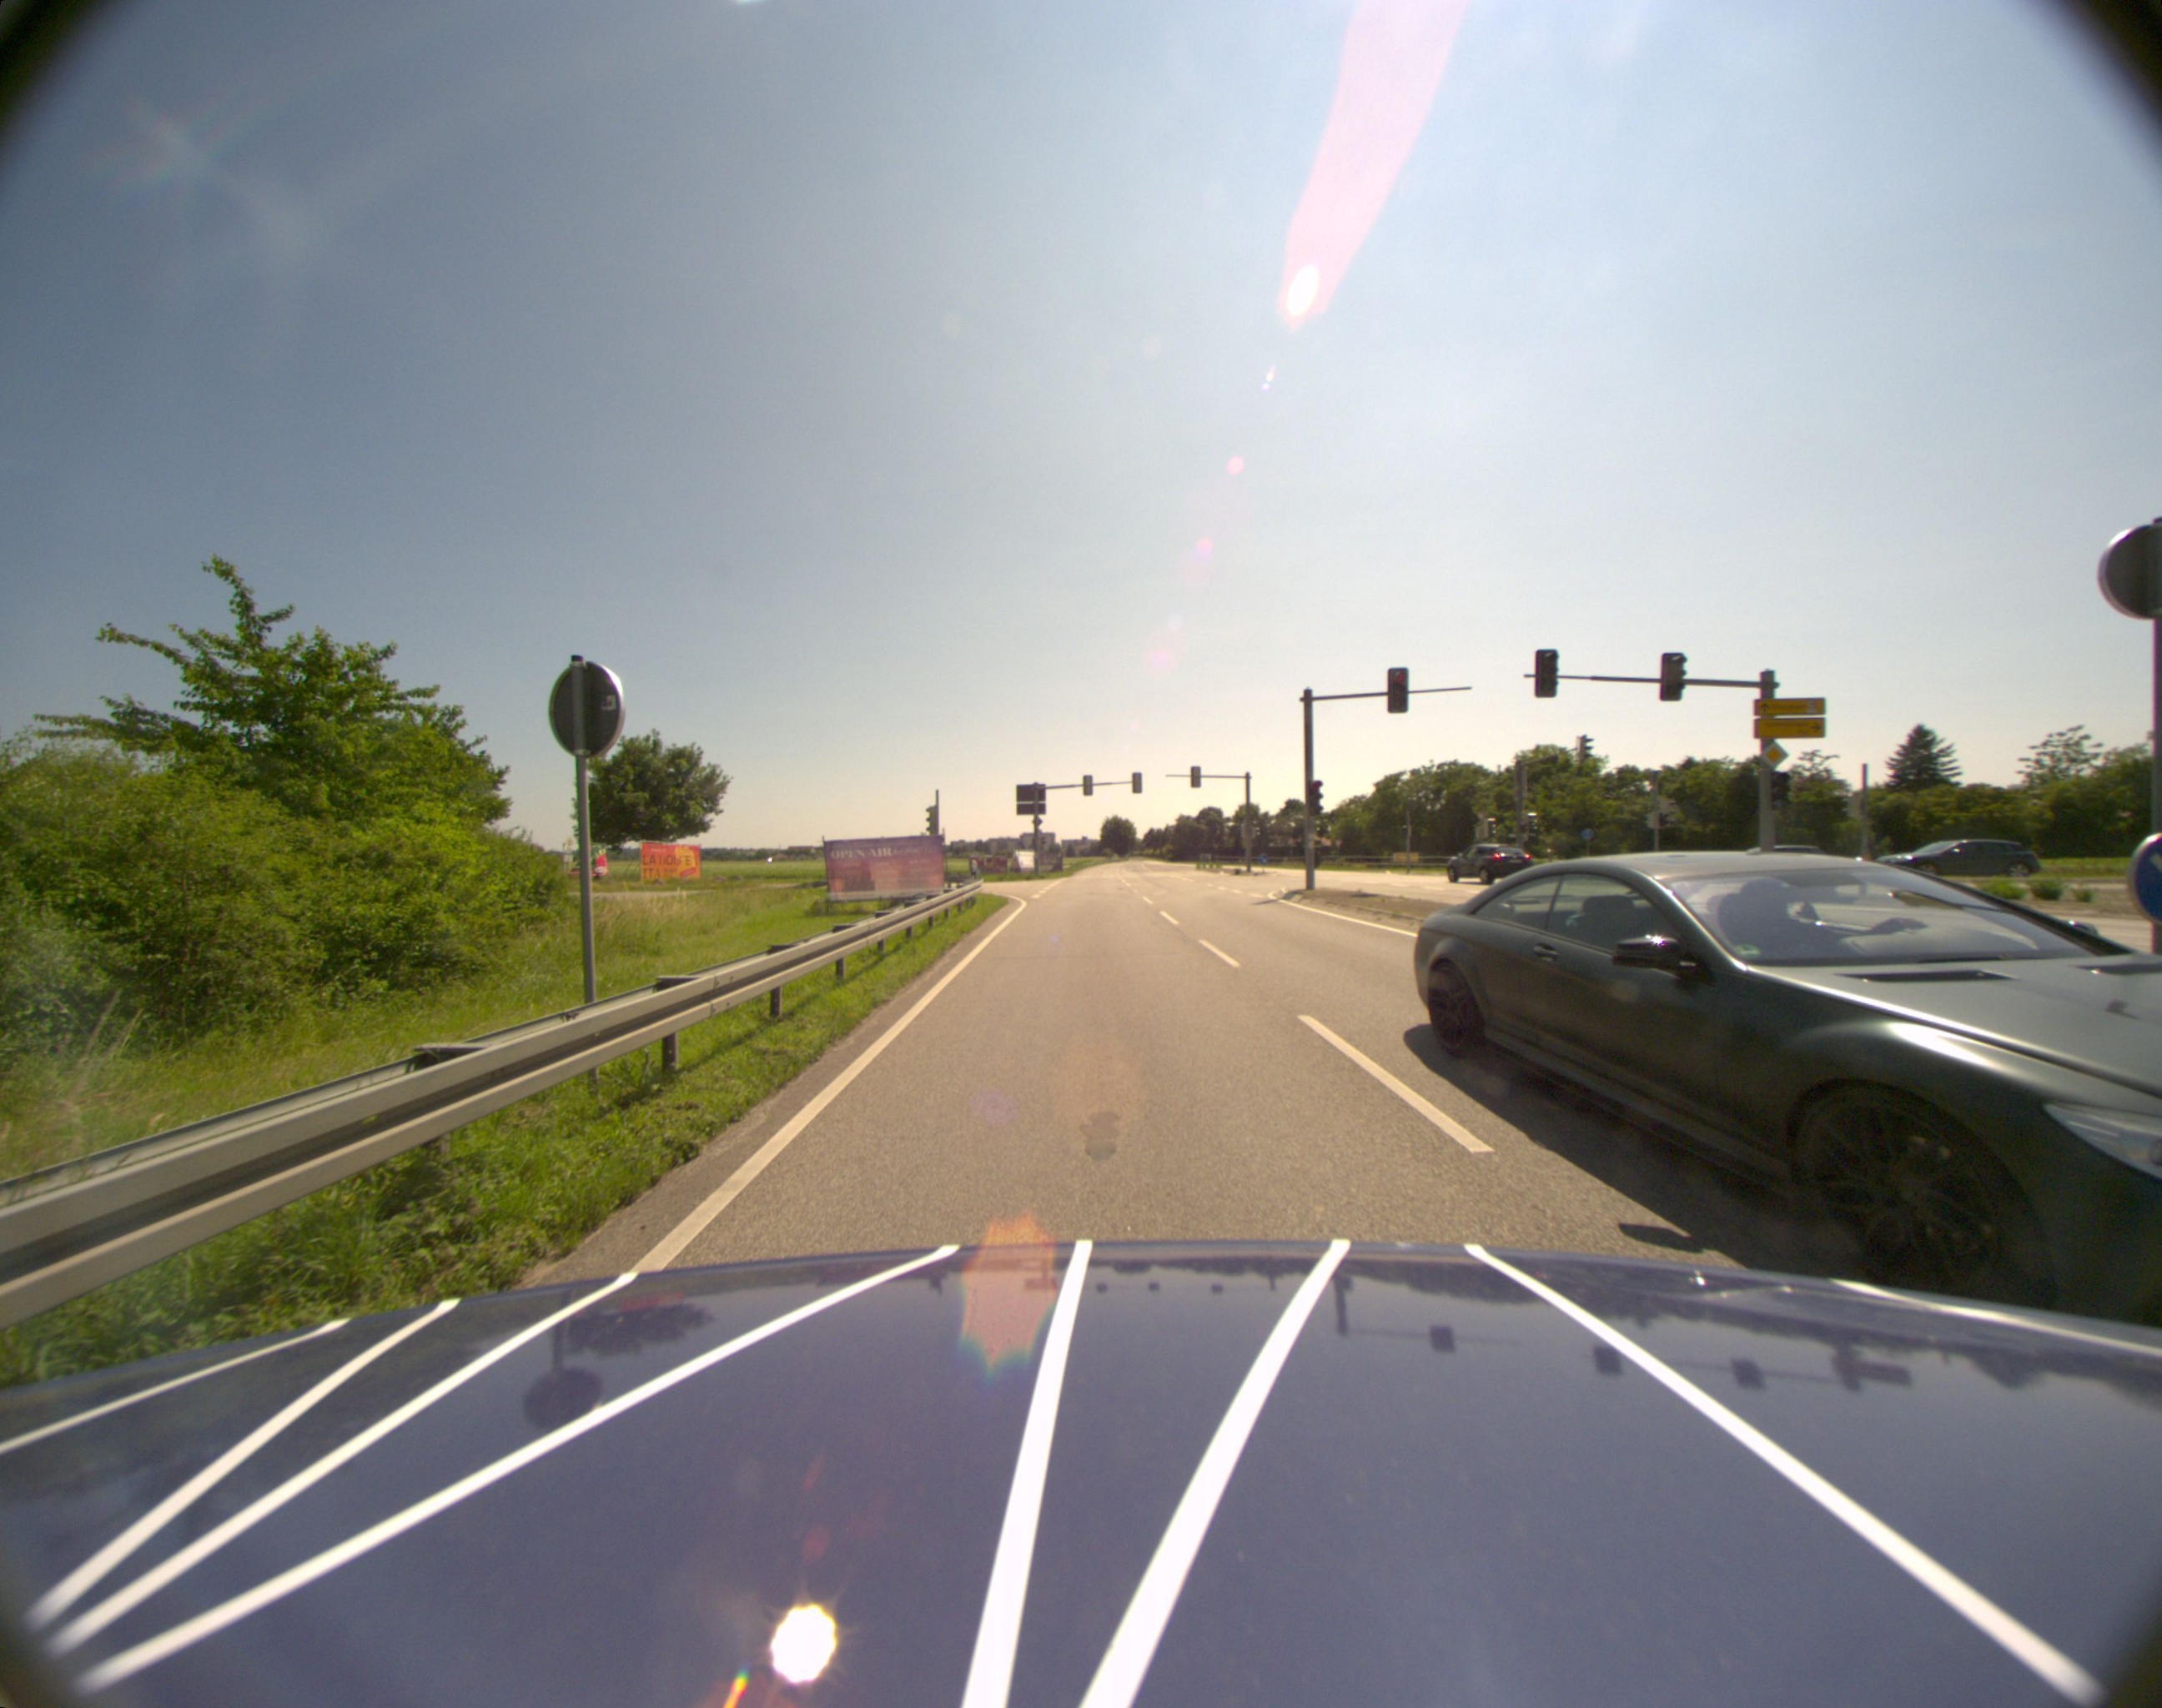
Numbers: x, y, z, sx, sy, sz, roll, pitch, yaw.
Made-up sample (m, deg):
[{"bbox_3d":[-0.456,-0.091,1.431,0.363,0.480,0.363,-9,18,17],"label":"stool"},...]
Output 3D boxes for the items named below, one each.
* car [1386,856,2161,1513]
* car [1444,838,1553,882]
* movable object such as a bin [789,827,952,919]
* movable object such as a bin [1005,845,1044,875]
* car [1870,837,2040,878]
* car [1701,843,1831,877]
[{"bbox_3d":[3.426,0.783,3.790,1.815,1.441,4.876,-2,0,0],"label":"car"},{"bbox_3d":[16.249,0.204,29.854,1.835,1.591,4.304,0,1,-2],"label":"car"},{"bbox_3d":[-5.825,0.515,21.318,4.105,2.318,1.277,-3,1,-2],"label":"movable object such as a bin"},{"bbox_3d":[-4.841,0.457,65.641,1.523,2.349,4.430,-2,1,21],"label":"movable object such as a bin"},{"bbox_3d":[35.809,0.134,31.288,4.360,1.585,1.637,0,1,18],"label":"car"},{"bbox_3d":[29.718,0.261,33.093,3.873,1.379,1.637,-1,0,16],"label":"car"}]
